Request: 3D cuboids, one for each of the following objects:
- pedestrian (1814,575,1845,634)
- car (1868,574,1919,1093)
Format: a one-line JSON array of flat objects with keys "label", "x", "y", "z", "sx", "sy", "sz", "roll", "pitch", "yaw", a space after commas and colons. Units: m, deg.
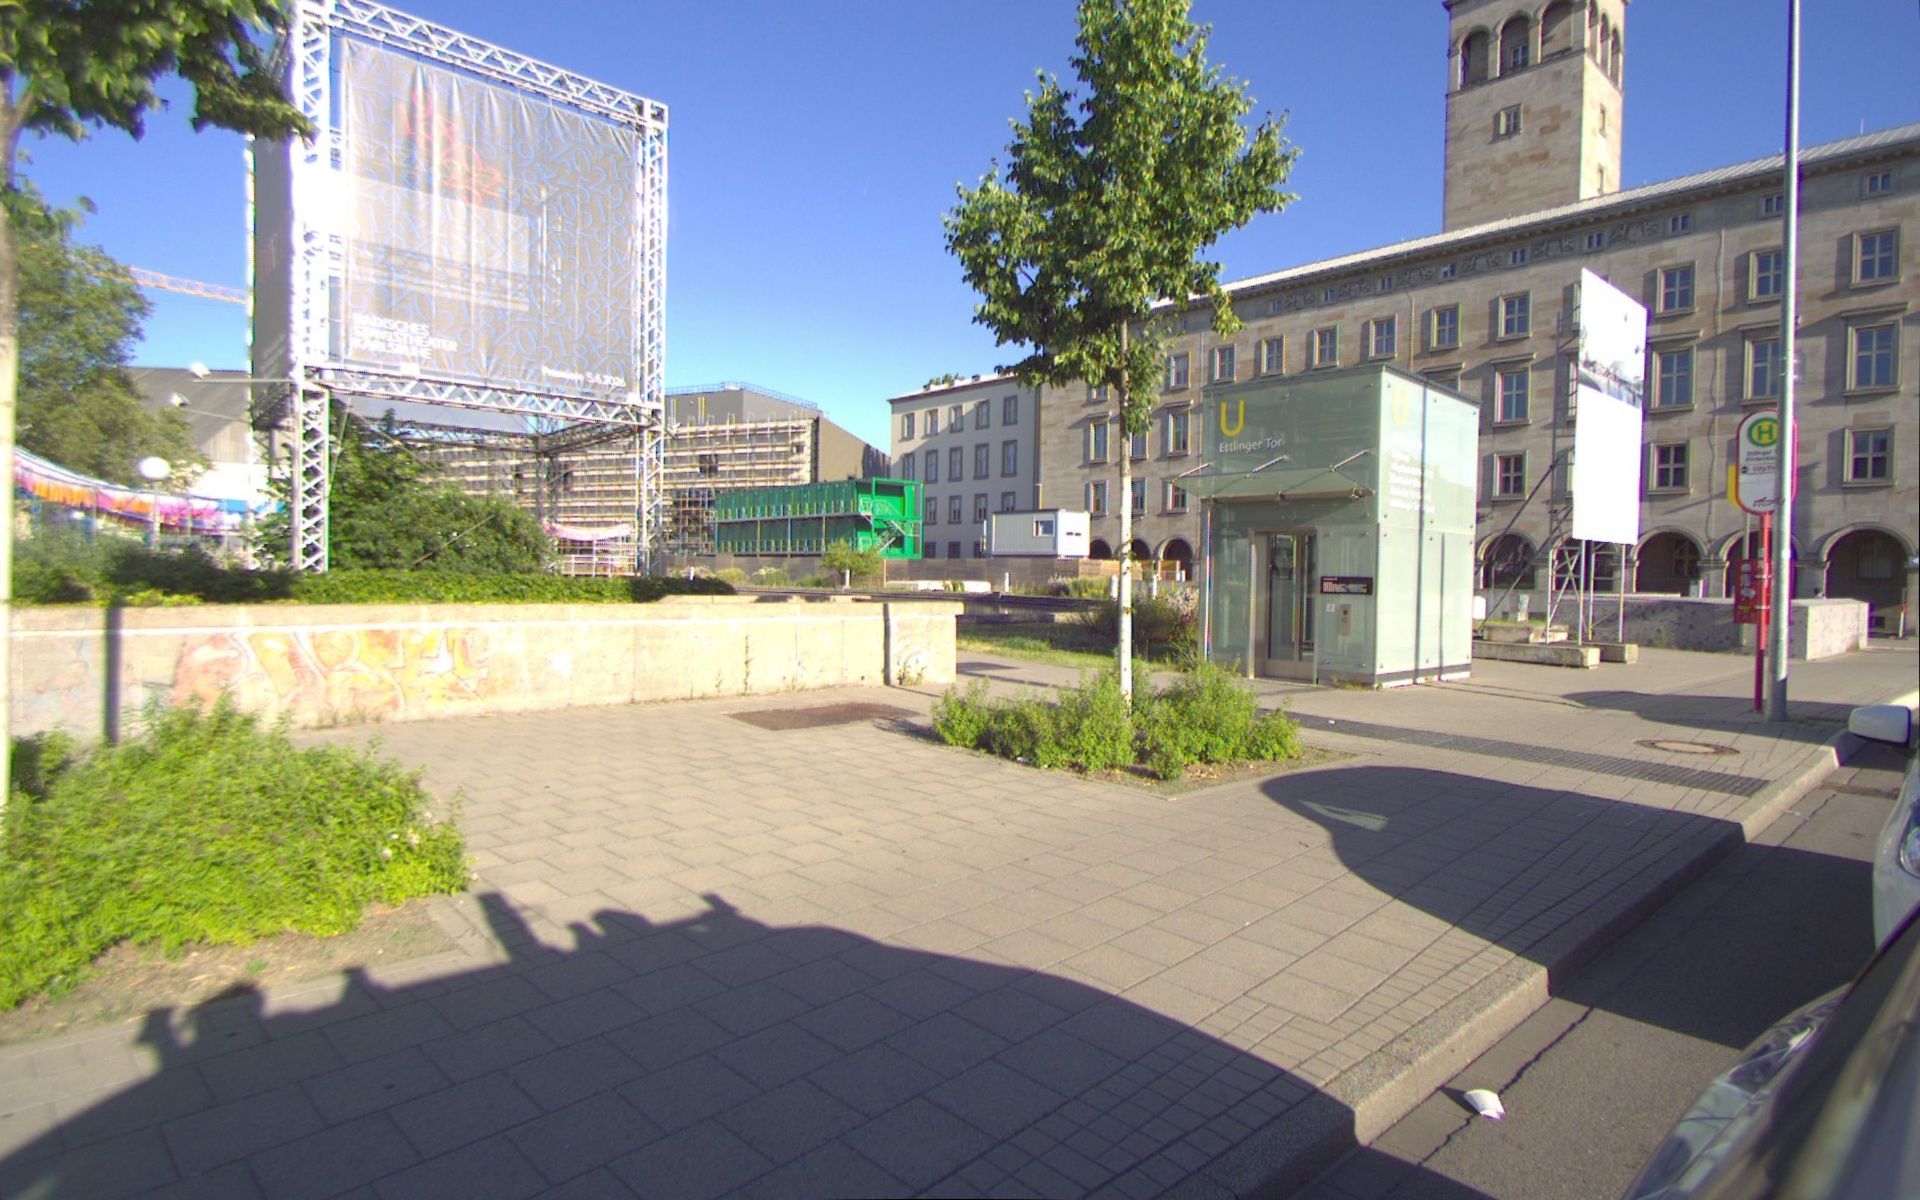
[{"label": "pedestrian", "x": 26.239, "y": 0.128, "z": 30.532, "sx": 0.572, "sy": 1.732, "sz": 0.595, "roll": 0, "pitch": 1, "yaw": -41}, {"label": "car", "x": 4.640, "y": 0.680, "z": 3.662, "sx": 3.930, "sy": 1.473, "sz": 1.518, "roll": 0, "pitch": 2, "yaw": -41}]
